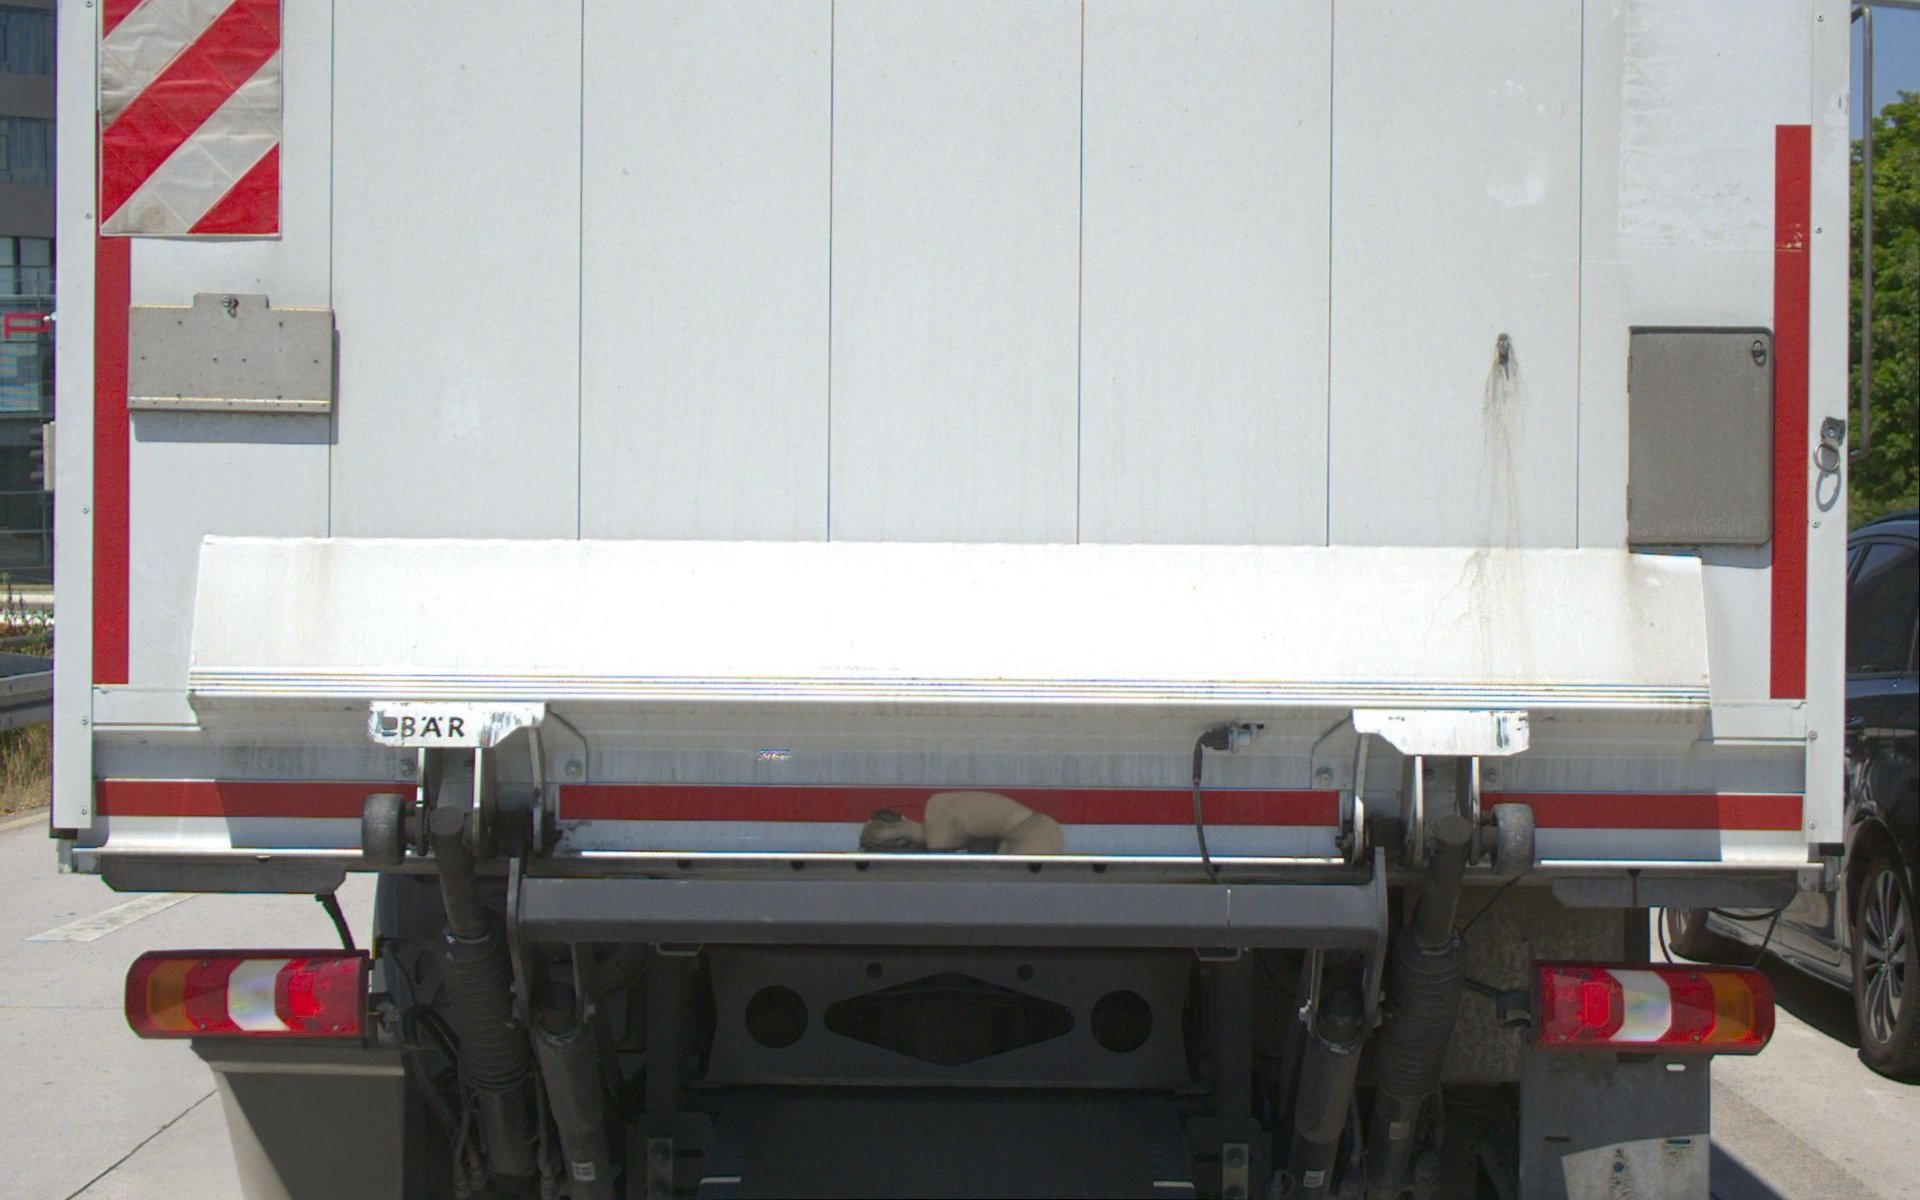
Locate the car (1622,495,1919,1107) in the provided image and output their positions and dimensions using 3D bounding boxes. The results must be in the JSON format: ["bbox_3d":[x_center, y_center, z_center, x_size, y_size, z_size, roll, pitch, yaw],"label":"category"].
[{"bbox_3d":[3.473,0.529,11.068,1.783,1.634,4.647,1,1,0],"label":"car"}]

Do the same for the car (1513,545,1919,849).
[{"bbox_3d":[4.149,0.437,18.456,1.768,1.405,4.609,1,1,2],"label":"car"}]

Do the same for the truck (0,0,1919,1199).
[{"bbox_3d":[-0.080,-0.559,9.343,2.769,3.846,9.371,1,1,-1],"label":"truck"}]
